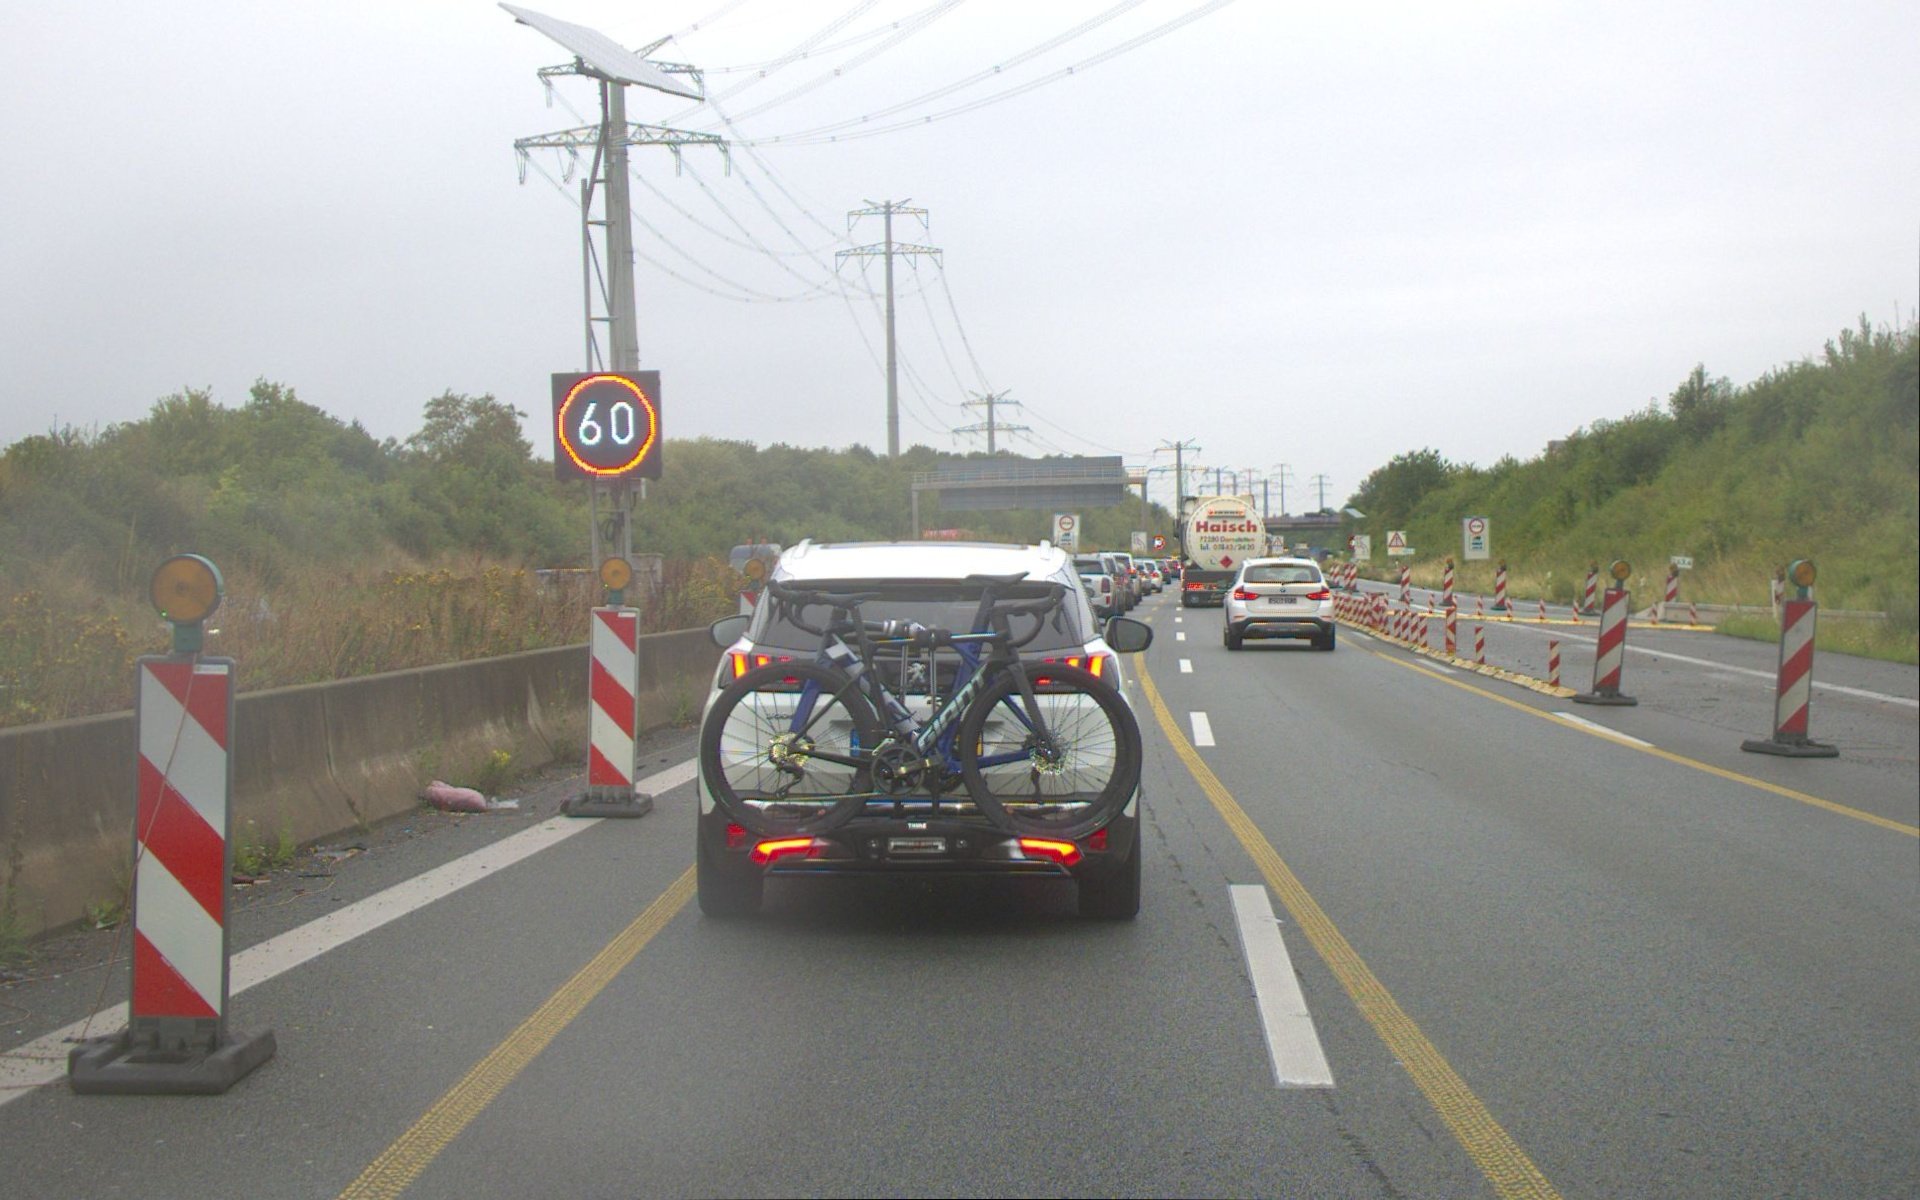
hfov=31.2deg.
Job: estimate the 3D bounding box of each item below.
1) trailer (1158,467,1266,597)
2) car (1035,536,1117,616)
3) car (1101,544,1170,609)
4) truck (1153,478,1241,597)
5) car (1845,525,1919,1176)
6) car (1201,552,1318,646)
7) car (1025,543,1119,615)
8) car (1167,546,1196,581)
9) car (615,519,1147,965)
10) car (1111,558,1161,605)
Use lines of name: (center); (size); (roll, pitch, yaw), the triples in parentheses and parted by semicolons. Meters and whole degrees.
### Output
trailer: (7.899, -2.063, 108.987); (2.638, 3.880, 10.543); (1, 0, 0)
car: (2.992, -0.641, 89.425); (1.993, 2.007, 4.000); (-2, 1, 0)
car: (5.599, -0.760, 110.248); (1.993, 2.007, 4.000); (1, 0, 0)
truck: (7.924, -2.073, 115.401); (2.644, 3.877, 4.030); (1, 0, 0)
car: (3.368, 0.651, 6.205); (2.045, 1.590, 5.801); (1, 1, 0)
car: (5.008, -0.041, 57.891); (1.870, 1.529, 4.196); (0, 1, 4)
car: (2.497, -0.494, 77.353); (1.993, 1.578, 4.000); (0, 1, 0)
car: (12.782, -2.118, 198.116); (1.654, 2.007, 3.999); (0, 1, 4)
car: (-0.186, 0.481, 14.779); (1.928, 1.605, 4.595); (0, 1, 3)
car: (7.681, -0.804, 150.281); (1.993, 2.007, 4.000); (1, 0, 0)
